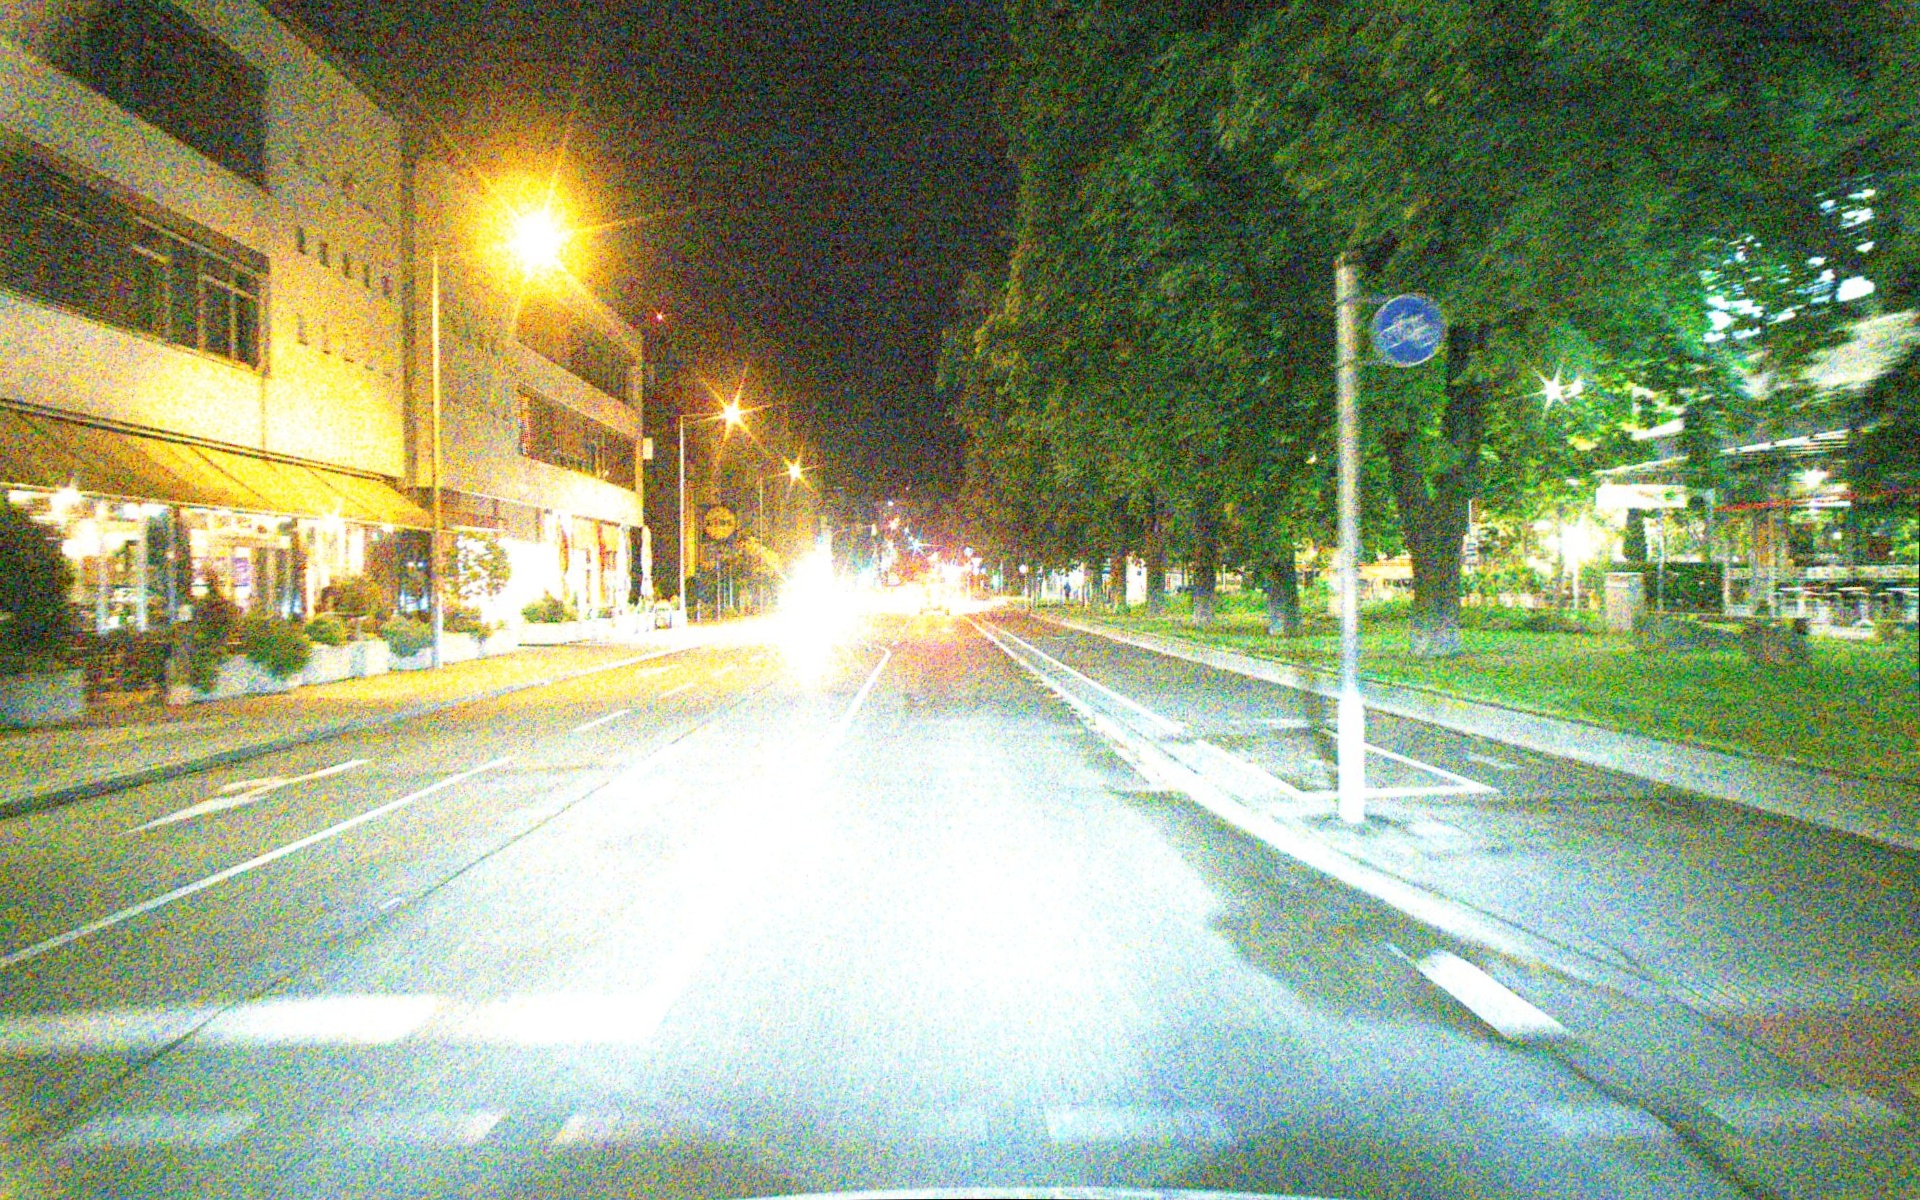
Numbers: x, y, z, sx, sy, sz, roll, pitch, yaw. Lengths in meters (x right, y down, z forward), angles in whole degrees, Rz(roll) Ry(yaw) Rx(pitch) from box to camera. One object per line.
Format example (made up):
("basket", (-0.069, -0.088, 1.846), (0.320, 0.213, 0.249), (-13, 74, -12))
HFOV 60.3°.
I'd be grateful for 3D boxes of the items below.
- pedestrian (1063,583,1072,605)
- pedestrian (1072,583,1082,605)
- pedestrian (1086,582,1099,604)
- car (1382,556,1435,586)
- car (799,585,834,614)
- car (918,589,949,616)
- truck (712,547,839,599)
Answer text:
("pedestrian", (9.054, -0.501, 139.452), (0.699, 1.799, 0.907), (-2, 1, -2))
("pedestrian", (9.884, -0.496, 139.535), (0.724, 1.799, 0.907), (-2, 1, -2))
("pedestrian", (11.182, -0.599, 139.880), (0.884, 1.799, 0.905), (-2, 1, -10))
("car", (24.605, -1.573, 90.874), (1.732, 1.560, 4.098), (-1, 1, -1))
("car", (-7.771, -0.042, 89.910), (1.633, 1.453, 3.998), (-2, 0, -2))
("car", (-1.556, 0.117, 97.730), (1.768, 1.520, 4.729), (1, 0, -1))
("truck", (-14.883, -2.155, 133.333), (9.906, 3.782, 2.755), (-2, 0, -13))
